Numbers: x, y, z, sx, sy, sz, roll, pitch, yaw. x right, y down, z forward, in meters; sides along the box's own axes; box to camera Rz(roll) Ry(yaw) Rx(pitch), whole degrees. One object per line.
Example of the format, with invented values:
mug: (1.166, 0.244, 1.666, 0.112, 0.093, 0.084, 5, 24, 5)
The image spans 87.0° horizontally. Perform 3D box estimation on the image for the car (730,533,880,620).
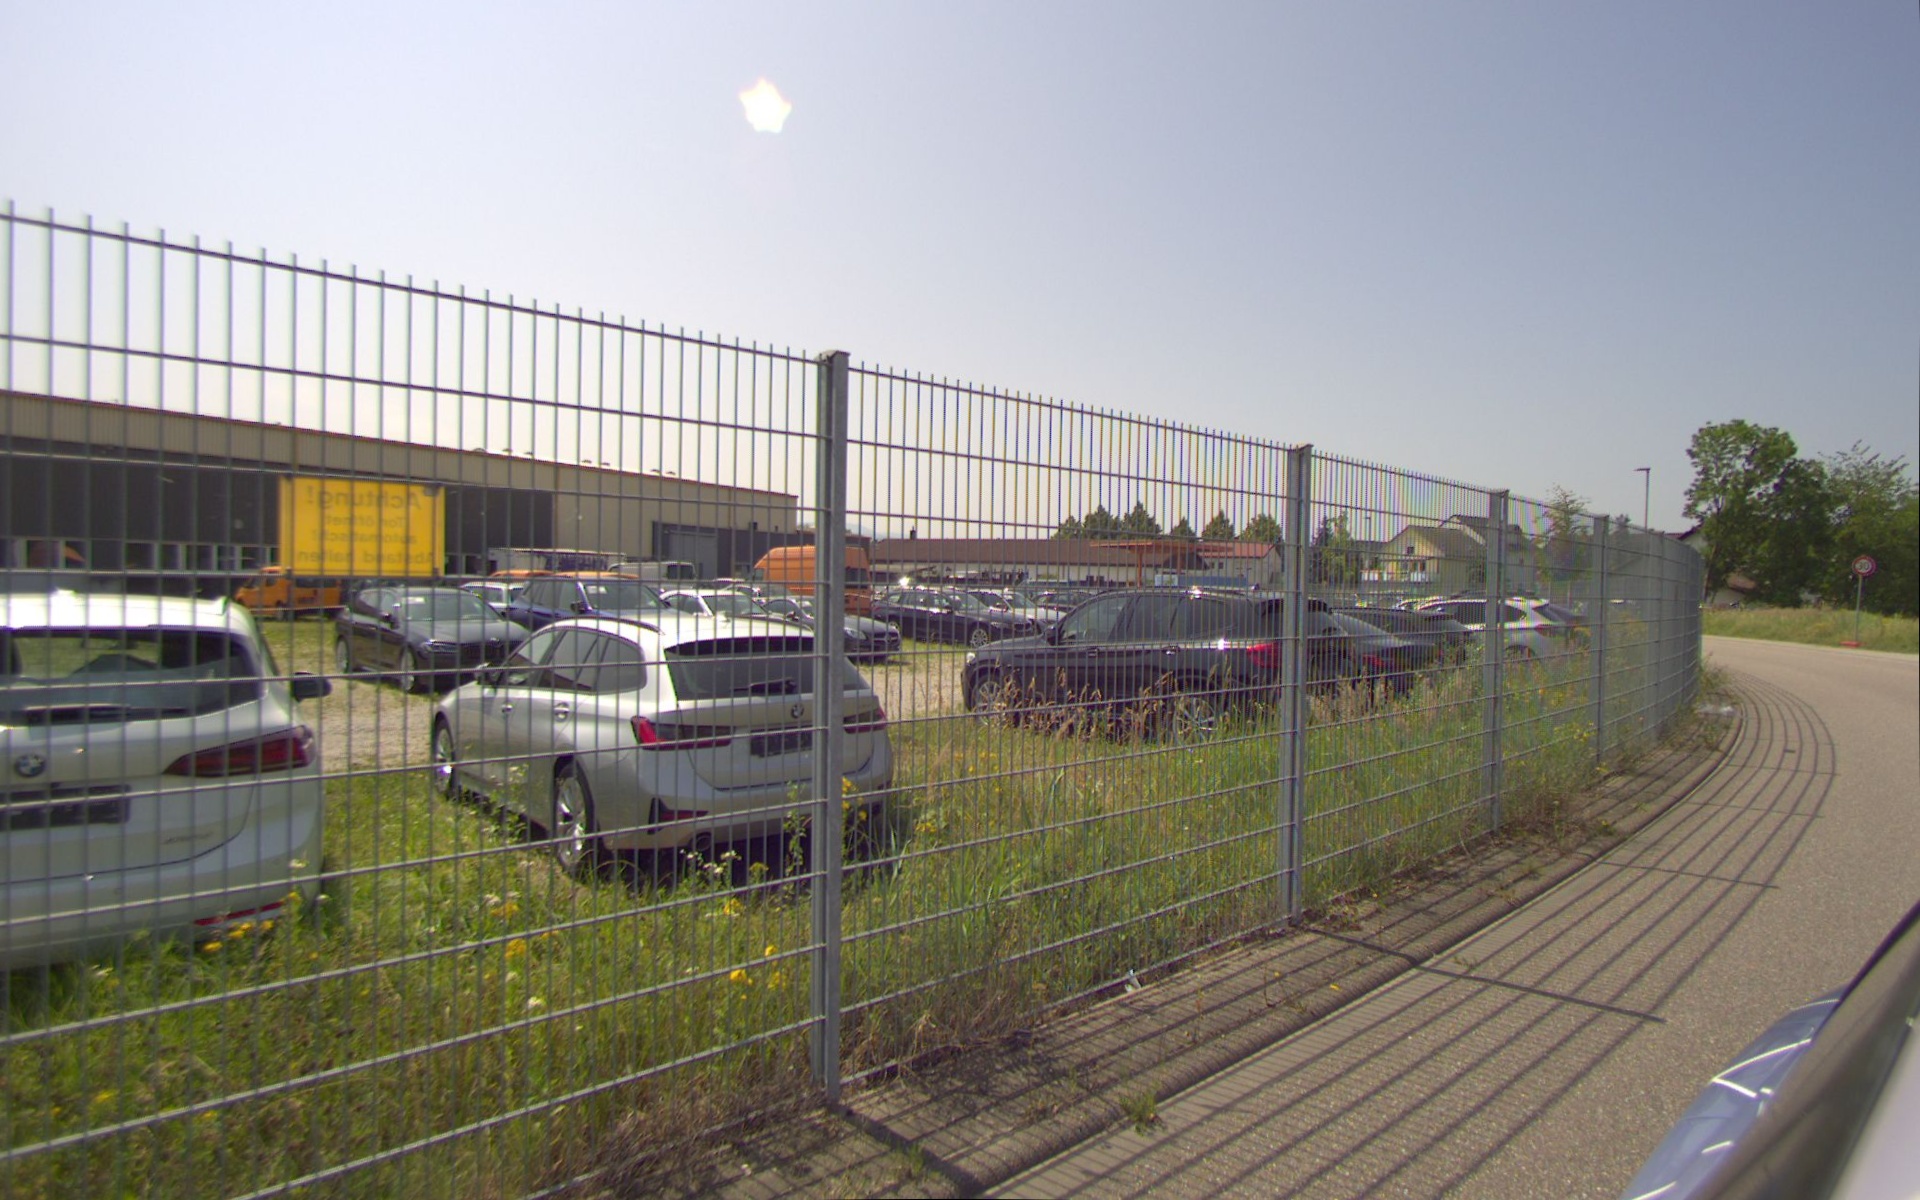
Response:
car: (-5.002, -0.788, 32.408, 4.718, 2.617, 1.955, 3, 1, 36)

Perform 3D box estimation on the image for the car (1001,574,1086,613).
car: (4.646, -0.361, 56.450, 4.363, 2.006, 1.818, 3, 1, 36)

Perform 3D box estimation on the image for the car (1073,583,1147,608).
car: (7.706, -0.234, 51.978, 3.355, 1.122, 1.650, 3, 1, 36)

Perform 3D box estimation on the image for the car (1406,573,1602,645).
car: (15.237, 0.213, 28.637, 4.647, 1.791, 1.729, 2, 1, 22)

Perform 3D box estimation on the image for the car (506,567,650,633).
car: (-9.705, -0.035, 25.639, 3.806, 1.480, 1.568, 3, 1, 36)

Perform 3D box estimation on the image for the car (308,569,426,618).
car: (-20.295, -0.255, 34.613, 4.359, 1.504, 1.732, 3, 1, 33)

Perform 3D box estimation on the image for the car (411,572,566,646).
car: (-10.830, 0.167, 23.164, 3.806, 1.480, 1.568, 3, 1, 36)

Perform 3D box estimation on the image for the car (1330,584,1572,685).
car: (9.701, 0.605, 20.105, 4.107, 1.690, 1.702, 3, 1, 34)

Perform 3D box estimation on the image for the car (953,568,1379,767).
car: (2.006, 0.546, 10.904, 1.734, 1.657, 4.287, 1, 1, -42)

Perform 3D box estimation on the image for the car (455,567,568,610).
car: (-17.319, -0.464, 39.042, 4.359, 1.504, 1.950, 3, 1, 33)

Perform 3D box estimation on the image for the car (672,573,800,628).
car: (-6.724, -0.011, 30.238, 3.806, 1.480, 1.568, 3, 1, 36)

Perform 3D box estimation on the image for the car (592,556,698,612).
car: (-13.441, -0.697, 43.125, 4.359, 2.199, 1.950, 3, 1, 33)

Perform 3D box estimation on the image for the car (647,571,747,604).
car: (-11.855, -0.585, 45.608, 4.359, 1.339, 1.950, 3, 1, 33)

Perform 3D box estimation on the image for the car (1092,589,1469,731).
car: (3.904, 0.628, 12.930, 1.735, 1.395, 4.287, 1, 1, -42)

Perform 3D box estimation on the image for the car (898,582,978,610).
car: (-1.265, -0.237, 57.507, 4.363, 1.395, 1.818, 3, 1, 36)

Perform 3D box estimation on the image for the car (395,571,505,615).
car: (-18.842, -0.294, 37.370, 3.974, 1.482, 1.975, 2, 1, 35)

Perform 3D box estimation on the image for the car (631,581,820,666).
car: (-4.726, 0.413, 20.181, 3.751, 1.455, 1.591, 3, 1, 36)

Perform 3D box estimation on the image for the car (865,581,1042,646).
car: (-0.219, 0.299, 26.522, 4.548, 1.450, 1.641, 3, 1, 36)

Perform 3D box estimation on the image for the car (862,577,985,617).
car: (-1.376, -0.132, 37.285, 4.363, 1.285, 1.798, 3, 1, 36)

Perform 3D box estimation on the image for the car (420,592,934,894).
car: (-2.215, 0.719, 7.006, 1.807, 1.424, 4.216, 0, -1, -41)

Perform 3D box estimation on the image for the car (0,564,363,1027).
car: (-4.118, 0.645, 4.894, 1.804, 1.424, 4.223, -1, -1, -35)

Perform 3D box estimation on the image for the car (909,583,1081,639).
car: (0.954, 0.272, 29.095, 4.731, 1.368, 1.798, 3, 1, 36)

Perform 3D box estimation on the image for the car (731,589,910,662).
car: (-3.028, 0.489, 21.713, 3.751, 1.318, 1.591, 3, 1, 36)

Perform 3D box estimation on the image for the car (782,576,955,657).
car: (-2.283, 0.318, 24.916, 3.978, 1.738, 1.974, 2, 3, 37)

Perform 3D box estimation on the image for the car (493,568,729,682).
car: (-6.142, 0.339, 17.554, 4.456, 1.669, 1.851, 3, 1, 40)

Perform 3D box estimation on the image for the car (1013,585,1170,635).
car: (4.196, 0.272, 32.680, 4.731, 1.368, 1.798, 3, 1, 36)

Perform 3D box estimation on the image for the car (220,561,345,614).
car: (-21.486, -0.418, 32.034, 4.359, 1.504, 1.732, 3, 1, 33)

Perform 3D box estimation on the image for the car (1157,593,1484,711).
car: (5.341, 0.678, 15.365, 4.338, 1.395, 1.738, 3, 1, 42)

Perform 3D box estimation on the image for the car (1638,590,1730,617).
car: (39.201, 0.149, 54.937, 1.550, 1.351, 4.409, 1, 1, -5)

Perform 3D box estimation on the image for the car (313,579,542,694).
car: (-8.186, 0.474, 15.454, 3.751, 1.455, 1.591, 3, 1, 36)

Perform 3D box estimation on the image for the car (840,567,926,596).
car: (-4.107, -1.009, 53.710, 4.363, 1.395, 1.818, 3, 1, 36)
